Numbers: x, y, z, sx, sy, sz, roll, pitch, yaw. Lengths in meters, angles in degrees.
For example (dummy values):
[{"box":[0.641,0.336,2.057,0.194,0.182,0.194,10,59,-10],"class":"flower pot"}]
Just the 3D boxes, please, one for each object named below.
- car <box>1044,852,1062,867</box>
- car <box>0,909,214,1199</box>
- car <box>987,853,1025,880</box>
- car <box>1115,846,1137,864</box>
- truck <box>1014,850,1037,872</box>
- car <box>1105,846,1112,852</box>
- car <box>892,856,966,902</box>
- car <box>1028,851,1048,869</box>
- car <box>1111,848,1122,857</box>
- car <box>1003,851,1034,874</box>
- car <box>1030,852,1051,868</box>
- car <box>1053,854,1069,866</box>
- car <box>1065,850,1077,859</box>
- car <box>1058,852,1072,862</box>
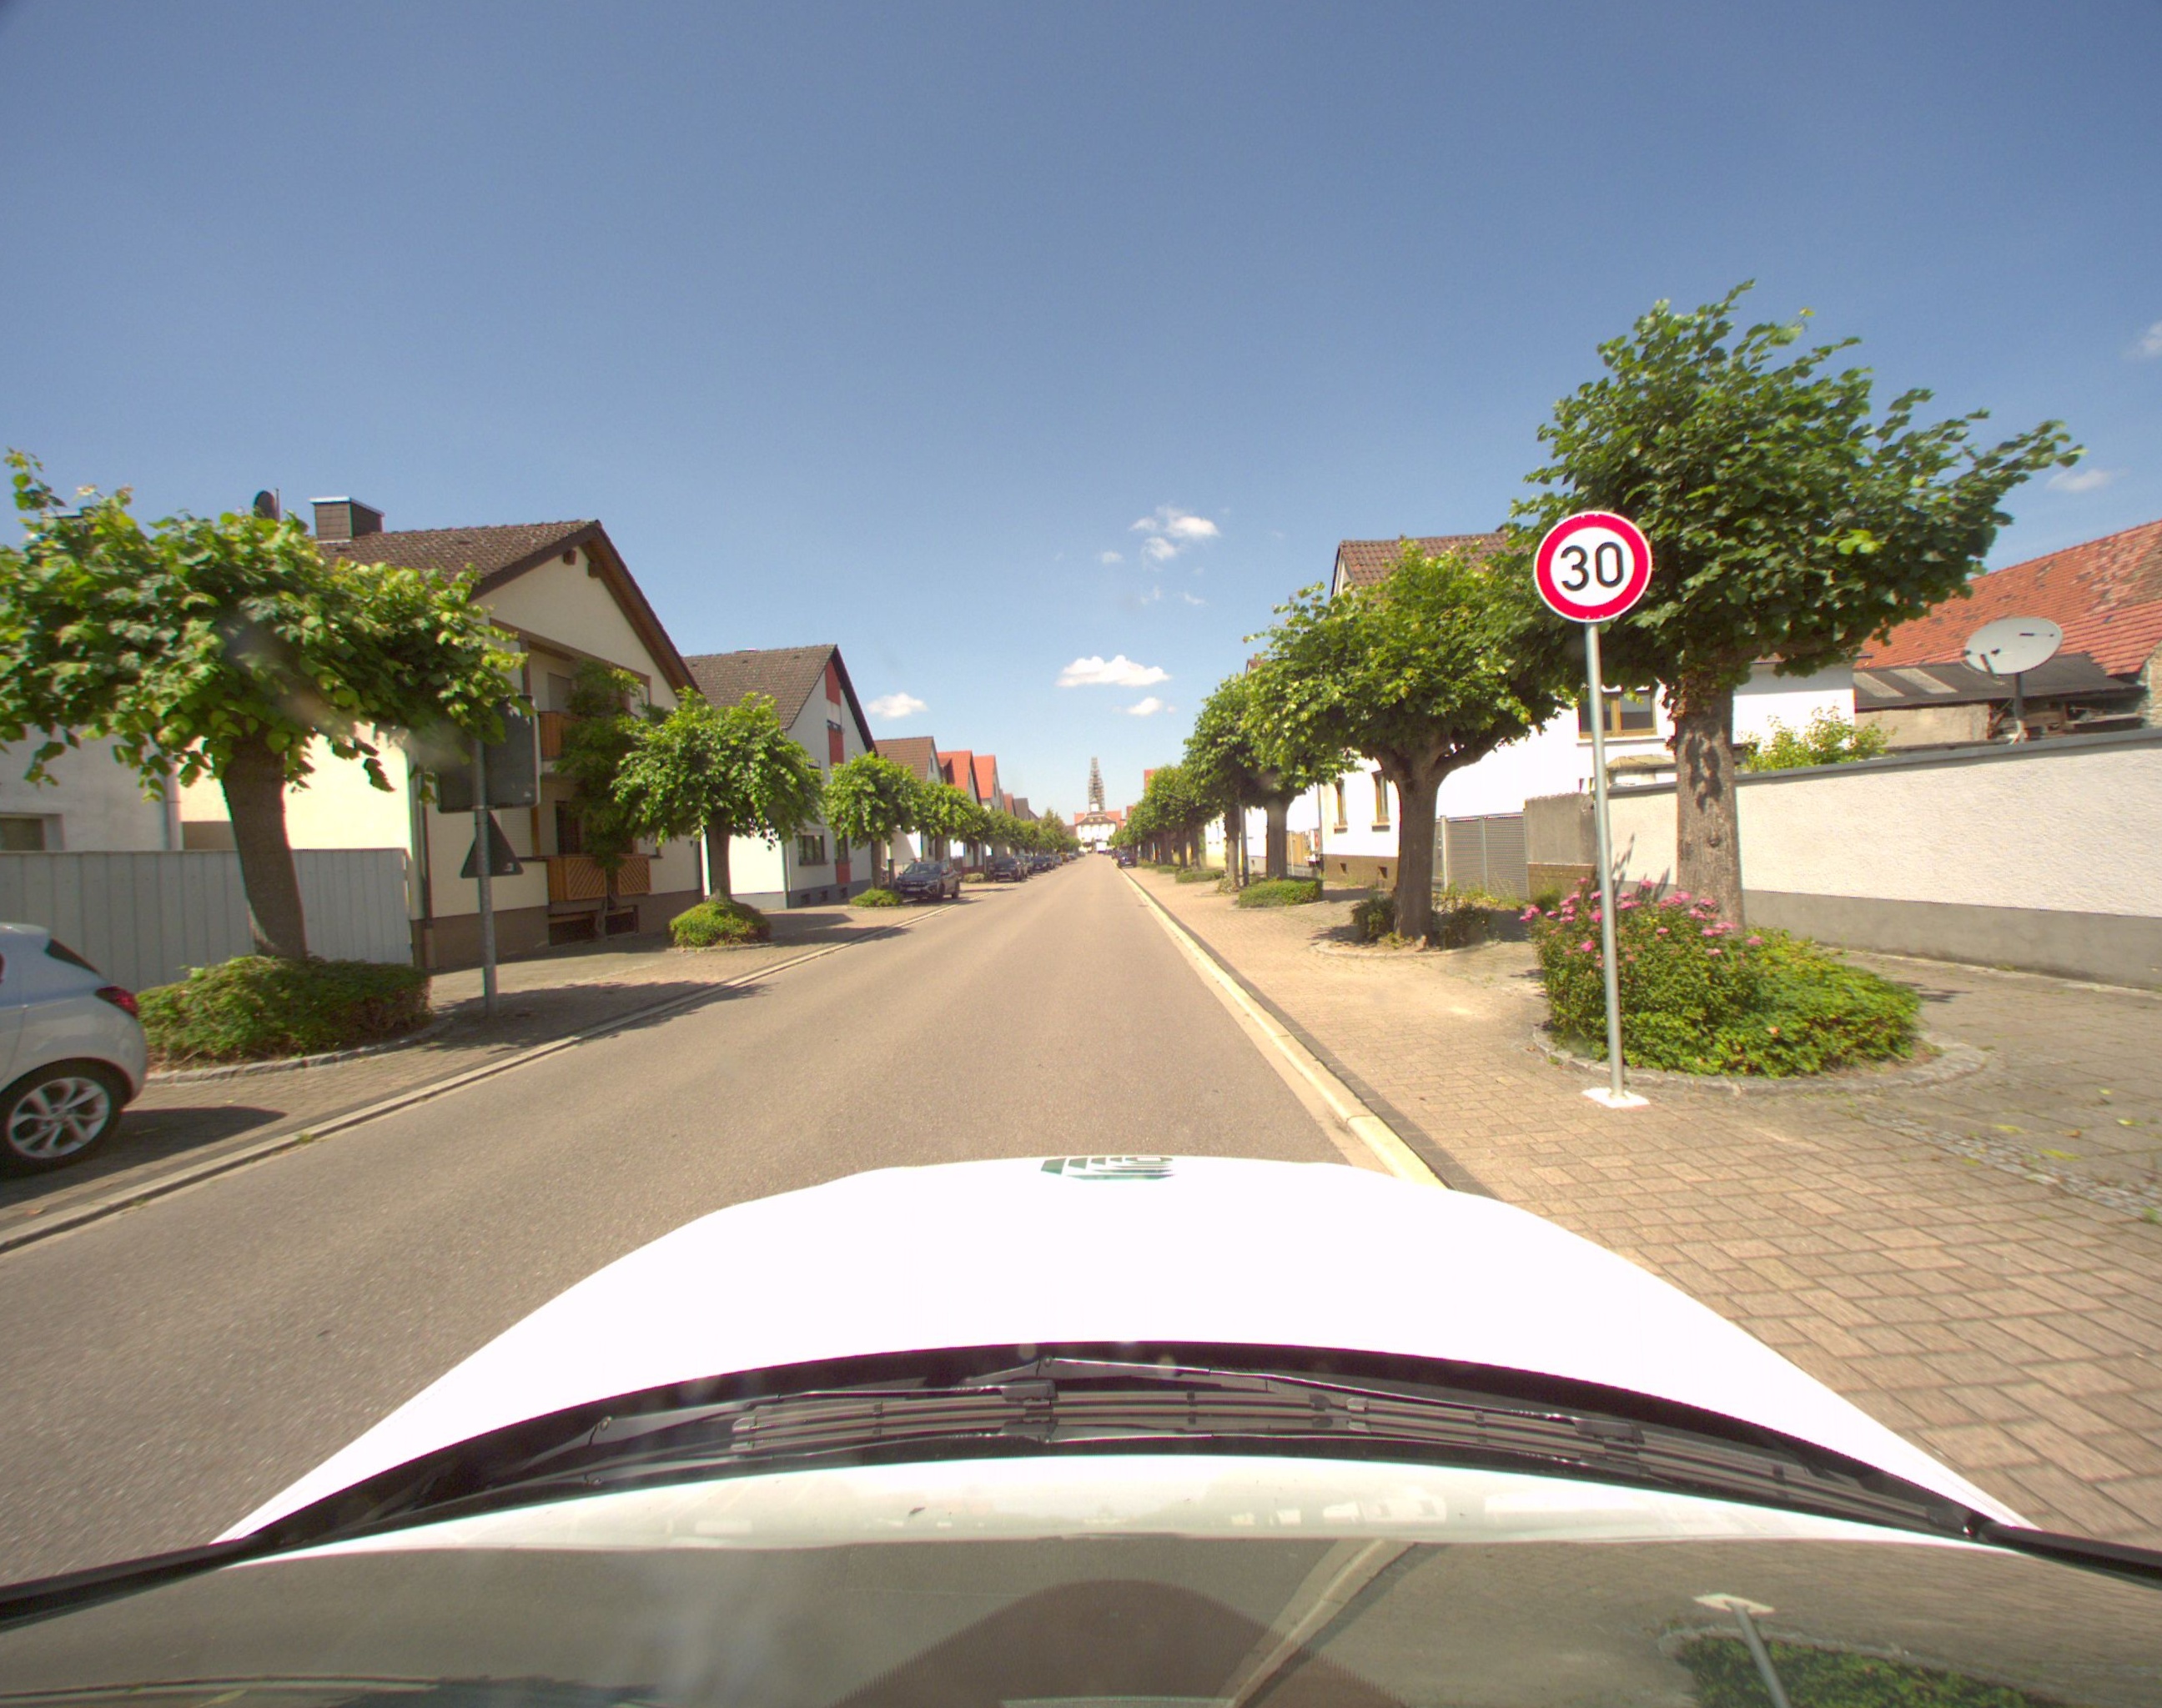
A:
[{"box":[-3.295,0.570,94.424,1.988,1.652,4.364,-2,0,-2],"class":"car"},{"box":[-6.728,1.111,3.350,1.818,1.483,4.134,-1,0,2],"class":"car"},{"box":[-4.715,0.757,51.766,1.846,1.636,4.300,0,1,1],"class":"car"},{"box":[4.230,0.071,76.764,1.818,1.432,4.058,-5,0,1],"class":"car"},{"box":[-4.618,0.540,68.178,1.570,1.765,4.193,-1,0,1],"class":"truck"},{"box":[6.833,-1.178,202.880,1.723,1.547,3.456,-1,0,1],"class":"car"},{"box":[-5.786,0.921,31.429,1.845,1.613,4.138,-1,0,3],"class":"car"},{"box":[-4.096,0.533,76.390,1.782,1.634,3.994,-1,0,-4],"class":"car"},{"box":[6.315,-0.311,146.502,1.831,1.555,4.314,-4,0,1],"class":"car"},{"box":[-4.569,0.644,59.977,1.846,1.613,4.372,-1,0,1],"class":"car"},{"box":[-4.193,0.640,84.753,1.846,1.635,4.058,-1,0,1],"class":"car"},{"box":[-2.671,0.803,109.456,1.834,1.396,4.407,-2,0,1],"class":"car"},{"box":[-1.921,0.099,160.826,1.986,1.611,4.692,0,1,2],"class":"car"},{"box":[-2.748,0.530,138.918,1.986,1.611,4.692,-1,0,2],"class":"car"}]
